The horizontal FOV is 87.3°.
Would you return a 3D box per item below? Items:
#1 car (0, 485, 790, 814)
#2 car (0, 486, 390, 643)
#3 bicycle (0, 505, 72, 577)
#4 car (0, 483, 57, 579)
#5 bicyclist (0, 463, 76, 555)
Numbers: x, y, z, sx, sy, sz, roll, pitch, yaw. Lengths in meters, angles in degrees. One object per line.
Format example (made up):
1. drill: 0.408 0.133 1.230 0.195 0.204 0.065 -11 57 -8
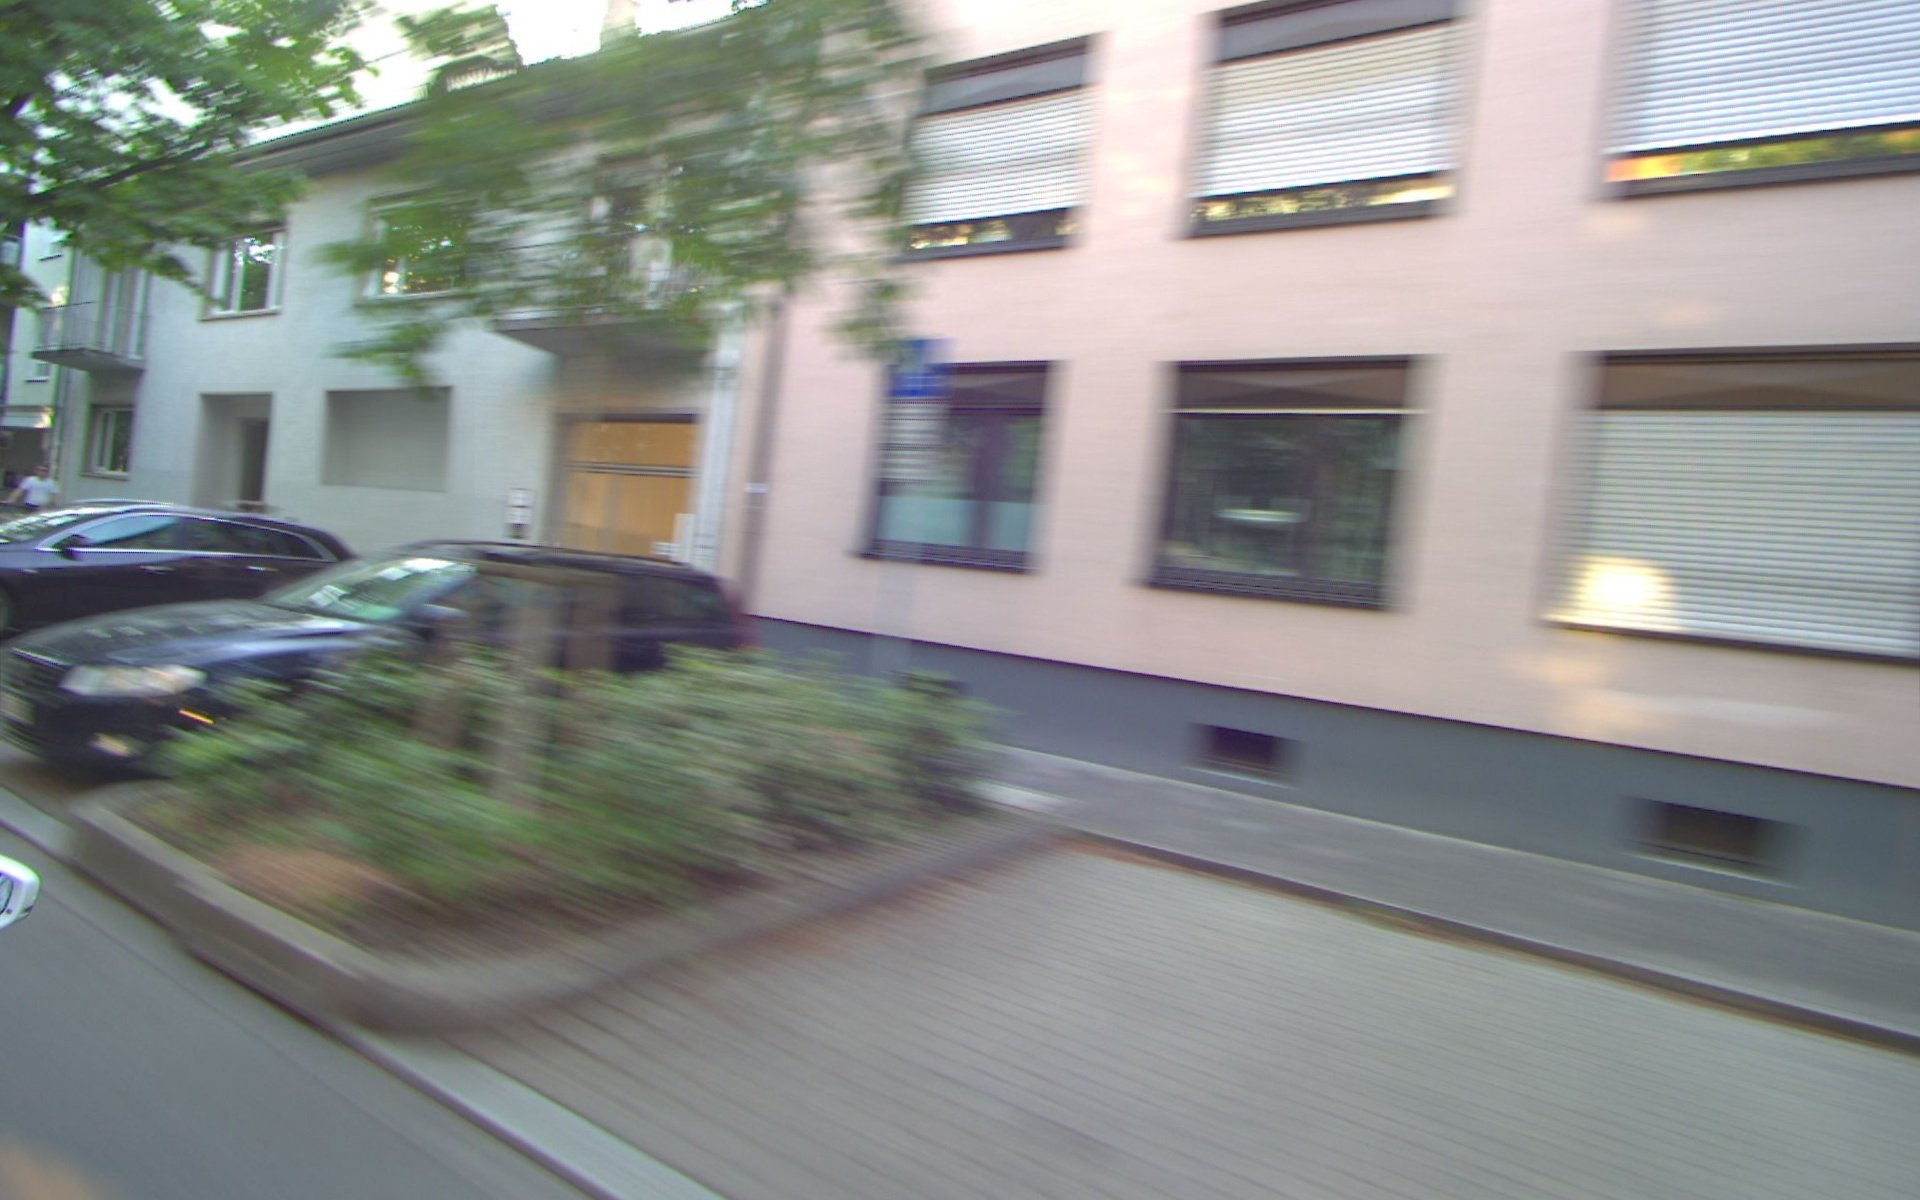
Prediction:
1. car: -3.660 0.258 7.098 2.009 1.467 4.840 7 1 33
2. car: -8.910 -0.370 10.550 1.968 1.406 4.678 7 2 33
3. bicycle: -18.233 -1.205 19.202 3.341 1.178 0.622 7 0 26
4. car: -16.513 -1.229 14.806 1.980 1.446 4.455 7 2 36
5. bicyclist: -18.304 -1.783 19.724 1.115 1.624 0.973 7 0 25
